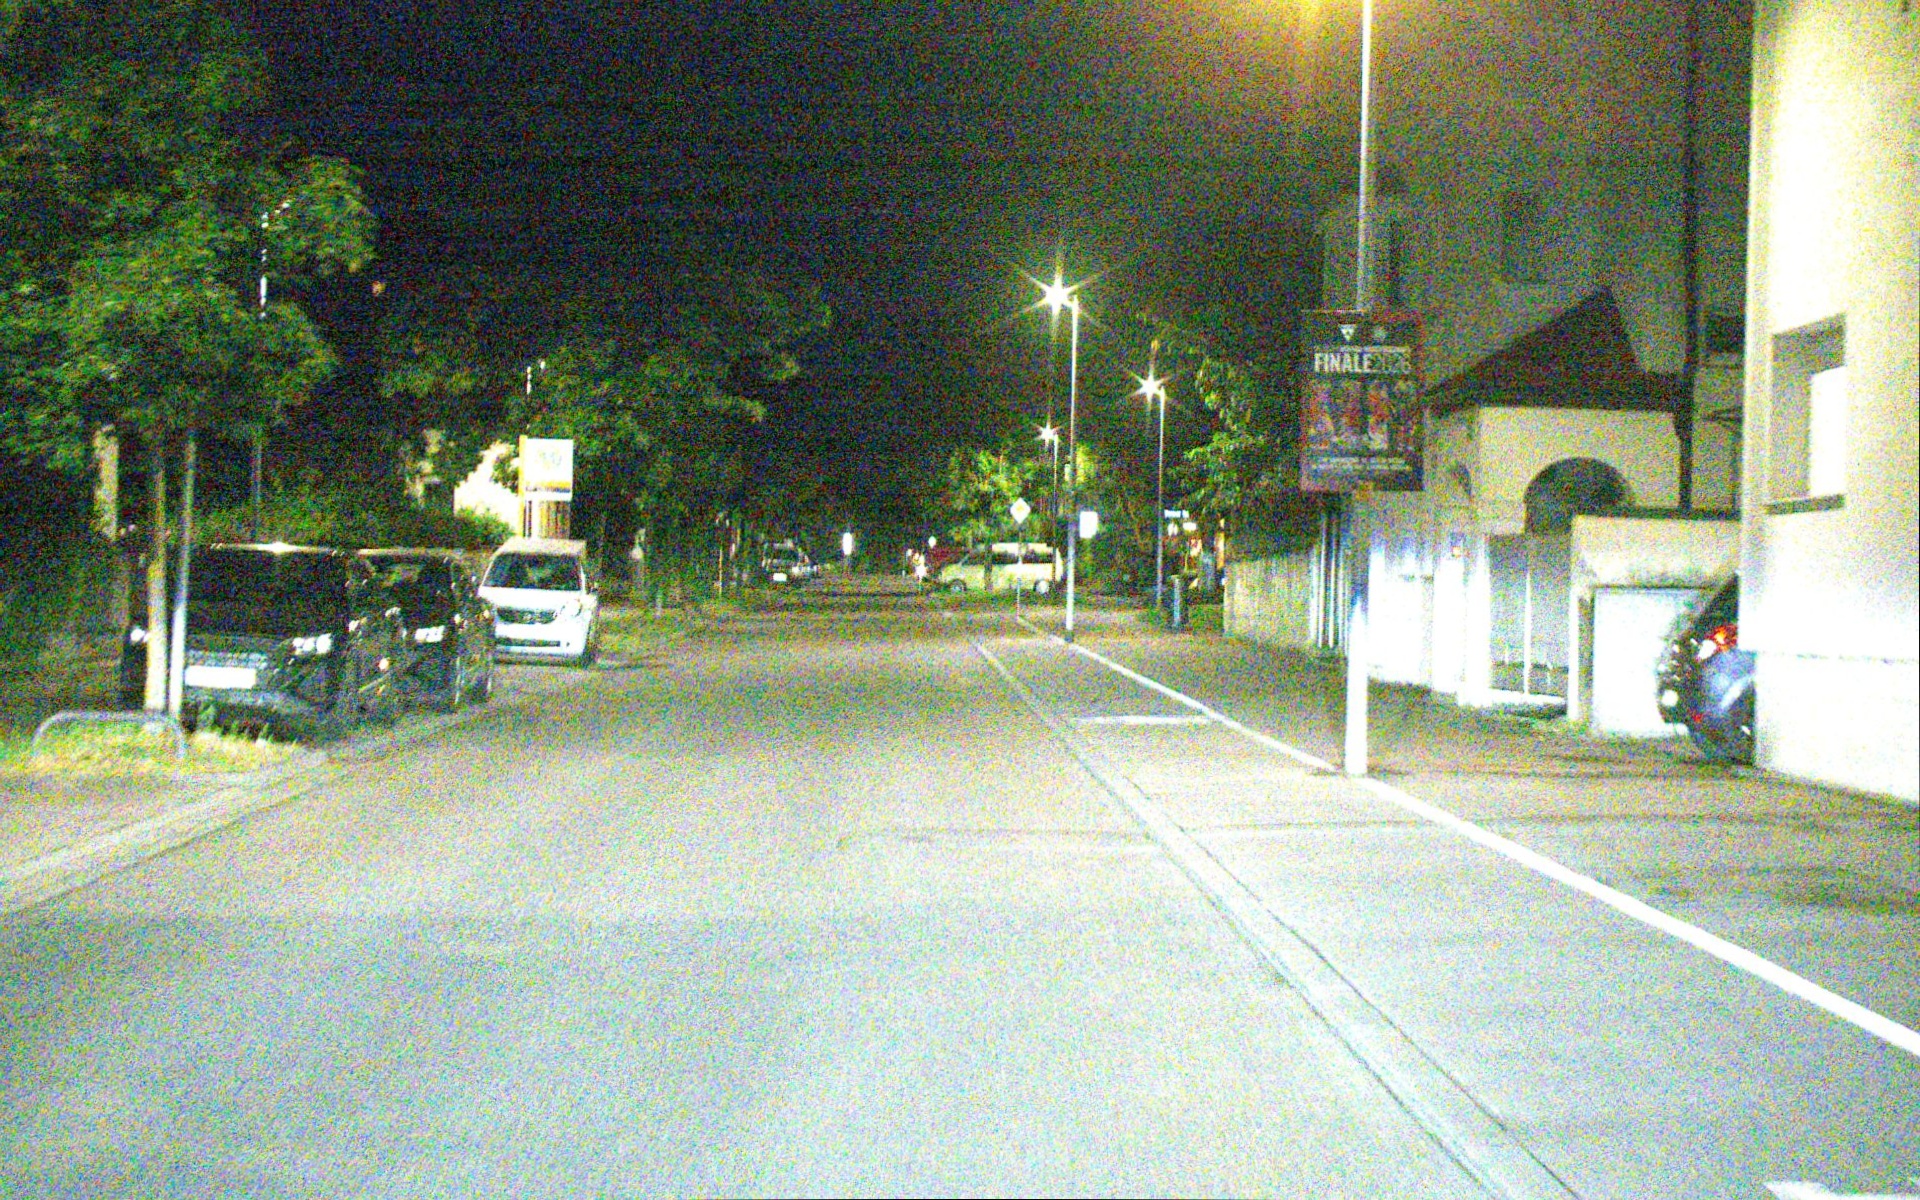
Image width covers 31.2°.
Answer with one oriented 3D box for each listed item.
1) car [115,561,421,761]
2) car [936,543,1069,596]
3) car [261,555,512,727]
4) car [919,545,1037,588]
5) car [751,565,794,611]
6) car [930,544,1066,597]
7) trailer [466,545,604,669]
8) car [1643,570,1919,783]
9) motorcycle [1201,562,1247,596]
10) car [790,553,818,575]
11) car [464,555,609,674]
[{"bbox_3d":[-5.631,0.441,28.431,1.688,1.505,4.279,1,1,0],"label":"car"},{"bbox_3d":[1.675,-1.220,136.903,5.182,2.007,2.102,-1,1,-2],"label":"car"},{"bbox_3d":[-5.504,0.342,33.480,1.766,1.514,4.279,2,1,-1],"label":"car"},{"bbox_3d":[0.830,-1.551,158.599,5.184,1.880,2.101,-1,1,8],"label":"car"},{"bbox_3d":[-8.576,-0.549,157.339,1.824,1.980,4.466,2,0,-3],"label":"car"},{"bbox_3d":[1.470,-1.154,133.836,5.182,2.007,2.102,-1,1,-2],"label":"car"},{"bbox_3d":[-6.228,0.085,50.659,1.448,1.682,3.426,3,1,1],"label":"trailer"},{"bbox_3d":[6.973,0.545,24.909,3.711,1.468,1.730,1,0,2],"label":"car"},{"bbox_3d":[10.748,-0.862,139.932,1.071,1.322,2.704,1,2,23],"label":"motorcycle"},{"bbox_3d":[-9.359,-2.168,206.425,1.683,1.326,3.600,1,1,-2],"label":"car"},{"bbox_3d":[-5.818,0.175,47.462,1.671,1.517,2.979,3,1,-2],"label":"car"}]
